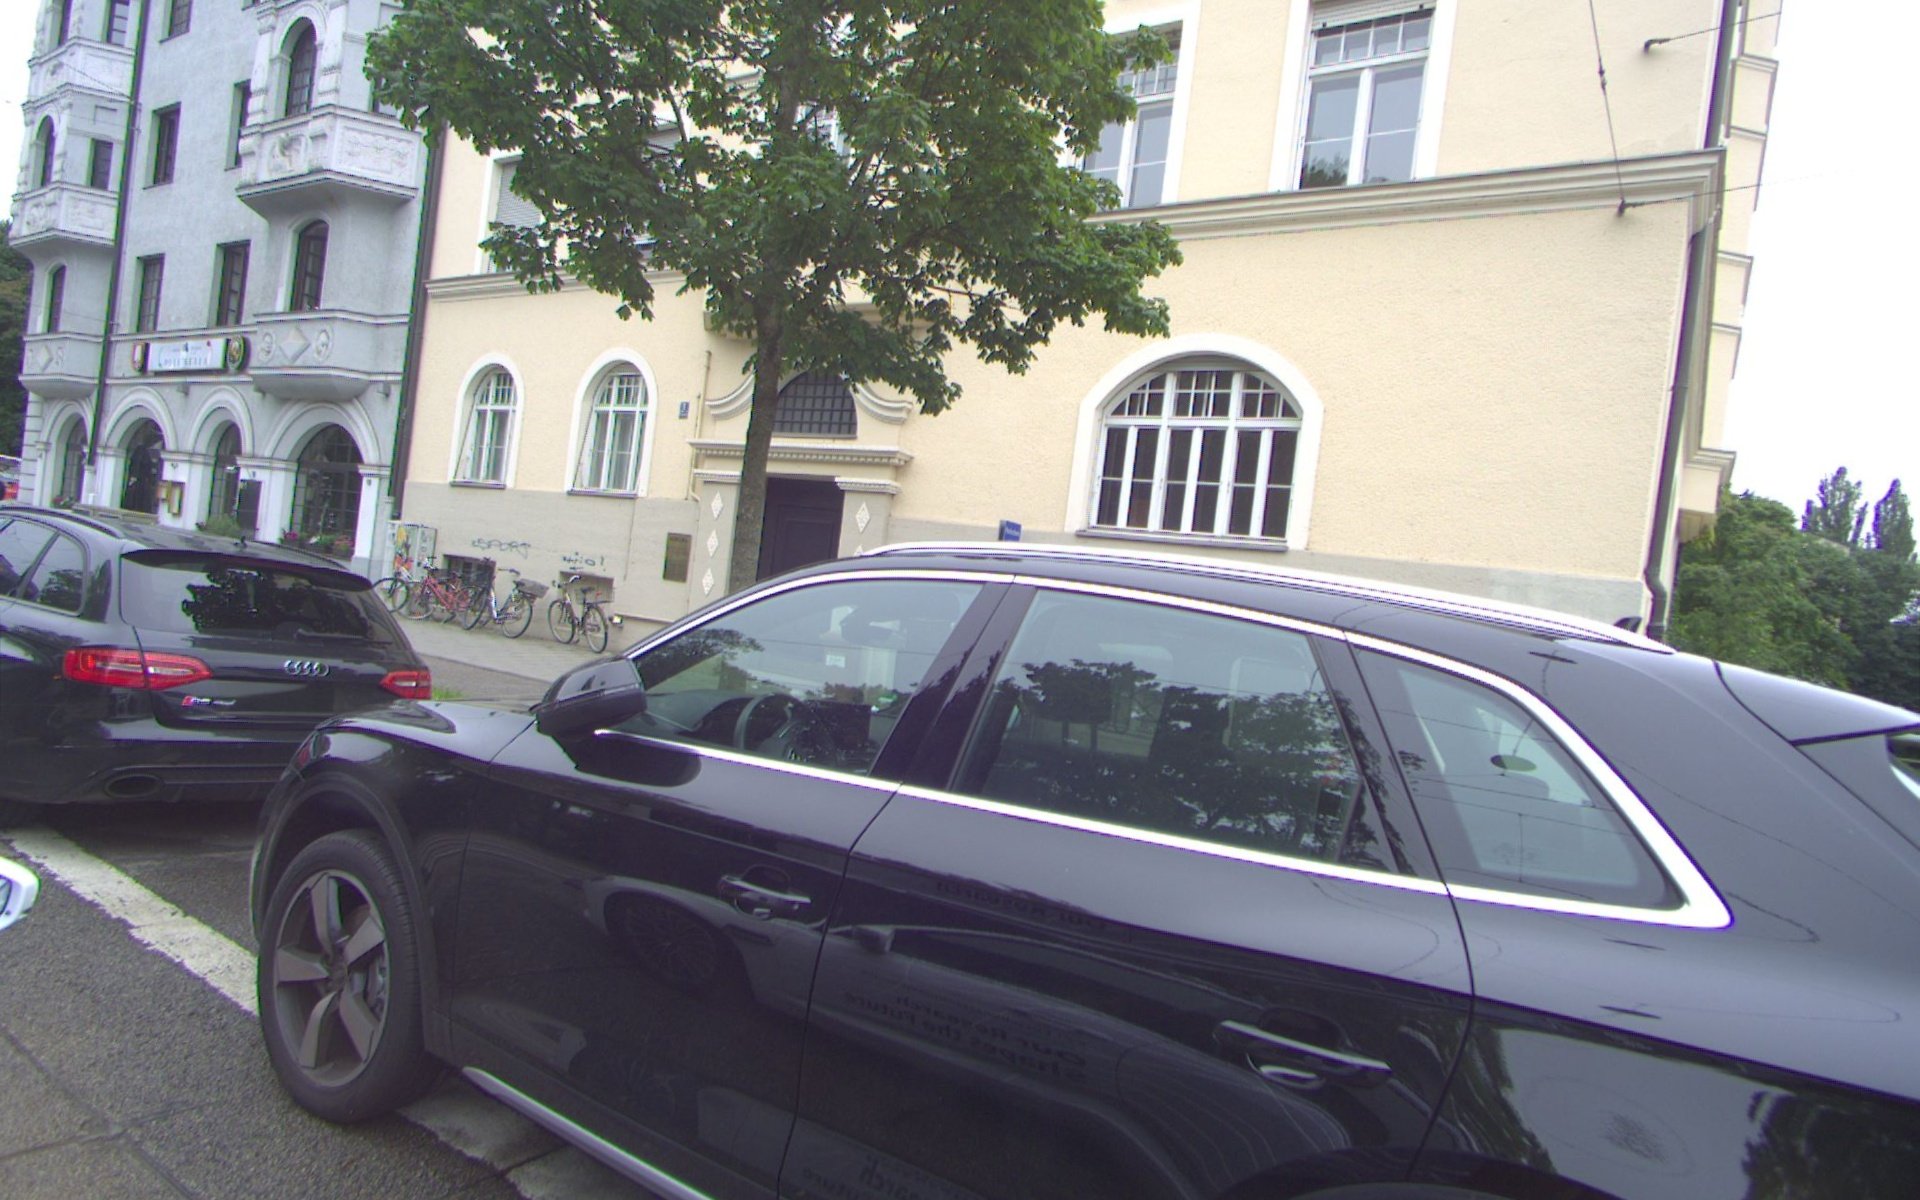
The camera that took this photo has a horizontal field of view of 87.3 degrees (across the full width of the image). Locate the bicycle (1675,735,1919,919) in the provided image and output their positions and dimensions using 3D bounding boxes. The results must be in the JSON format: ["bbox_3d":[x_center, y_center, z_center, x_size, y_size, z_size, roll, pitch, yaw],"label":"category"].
[{"bbox_3d":[6.544,1.737,7.860,1.417,1.119,0.287,7,0,24],"label":"bicycle"}]

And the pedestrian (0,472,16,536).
[{"bbox_3d":[-27.133,-2.733,28.141,0.829,1.752,0.706,7,-1,32],"label":"pedestrian"}]

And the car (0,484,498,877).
[{"bbox_3d":[-4.858,0.183,5.685,4.525,1.442,1.720,7,-2,31],"label":"car"}]

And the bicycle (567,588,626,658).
[{"bbox_3d":[-5.513,0.341,15.242,0.871,0.941,0.222,7,-1,31],"label":"bicycle"}]

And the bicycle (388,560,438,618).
[{"bbox_3d":[-9.814,-0.203,18.047,0.871,0.941,0.291,7,-1,33],"label":"bicycle"}]

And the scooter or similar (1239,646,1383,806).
[{"bbox_3d":[3.334,1.176,9.595,1.123,1.328,0.262,7,-1,32],"label":"scooter or similar"}]

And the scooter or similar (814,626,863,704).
[{"bbox_3d":[-1.535,0.827,12.731,0.413,0.921,0.348,8,-1,11],"label":"scooter or similar"}]

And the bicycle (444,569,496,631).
[{"bbox_3d":[-8.262,0.003,16.967,0.871,0.941,0.273,7,-1,33],"label":"bicycle"}]

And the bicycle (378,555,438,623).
[{"bbox_3d":[-9.542,-0.193,17.379,1.203,1.051,0.242,7,-1,32],"label":"bicycle"}]

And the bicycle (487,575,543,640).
[{"bbox_3d":[-7.182,0.119,16.224,0.871,0.941,0.285,7,-1,33],"label":"bicycle"}]

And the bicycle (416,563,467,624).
[{"bbox_3d":[-9.032,-0.118,17.521,0.871,0.941,0.306,7,-1,34],"label":"bicycle"}]

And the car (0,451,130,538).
[{"bbox_3d":[-36.408,-4.241,39.457,2.192,2.642,5.311,7,-2,29],"label":"car"}]

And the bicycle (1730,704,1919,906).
[{"bbox_3d":[6.958,1.580,7.720,1.511,1.327,0.332,7,-1,30],"label":"bicycle"}]

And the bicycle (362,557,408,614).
[{"bbox_3d":[-10.596,-0.267,18.531,0.871,0.941,0.259,7,-1,33],"label":"bicycle"}]

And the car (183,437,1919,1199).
[{"bbox_3d":[0.130,0.659,2.540,4.414,1.677,1.777,7,-2,32],"label":"car"}]
